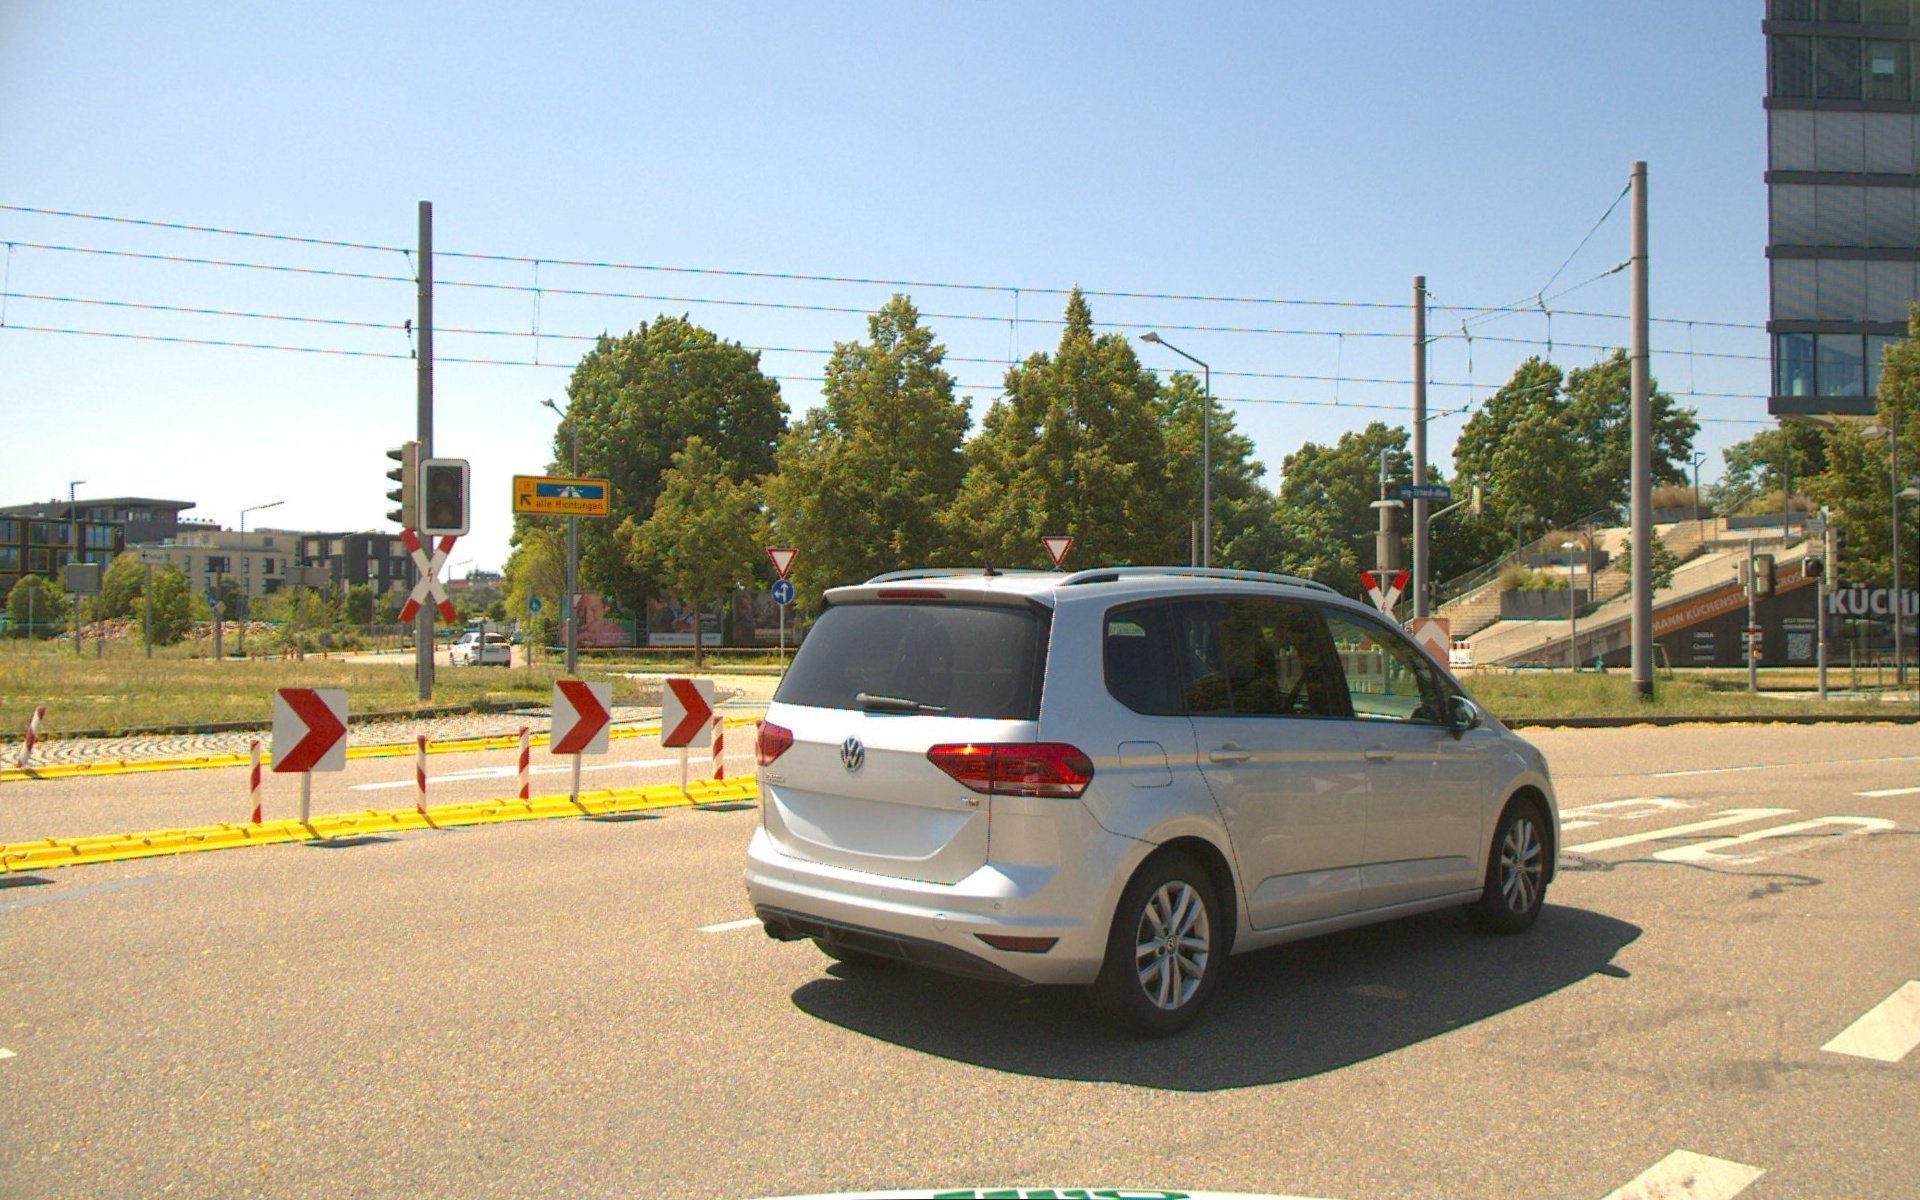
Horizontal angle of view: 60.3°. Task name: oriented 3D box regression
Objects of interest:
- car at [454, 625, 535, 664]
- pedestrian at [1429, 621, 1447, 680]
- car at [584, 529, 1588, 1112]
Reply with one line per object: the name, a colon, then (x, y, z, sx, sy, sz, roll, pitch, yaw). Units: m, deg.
car: (-19.267, 1.815, 68.346, 1.976, 1.512, 4.314, 0, -1, -34)
pedestrian: (14.507, 1.524, 50.186, 0.439, 1.769, 0.317, 0, -1, -8)
car: (0.850, 0.639, 7.039, 1.776, 1.677, 4.573, 1, 0, 44)
